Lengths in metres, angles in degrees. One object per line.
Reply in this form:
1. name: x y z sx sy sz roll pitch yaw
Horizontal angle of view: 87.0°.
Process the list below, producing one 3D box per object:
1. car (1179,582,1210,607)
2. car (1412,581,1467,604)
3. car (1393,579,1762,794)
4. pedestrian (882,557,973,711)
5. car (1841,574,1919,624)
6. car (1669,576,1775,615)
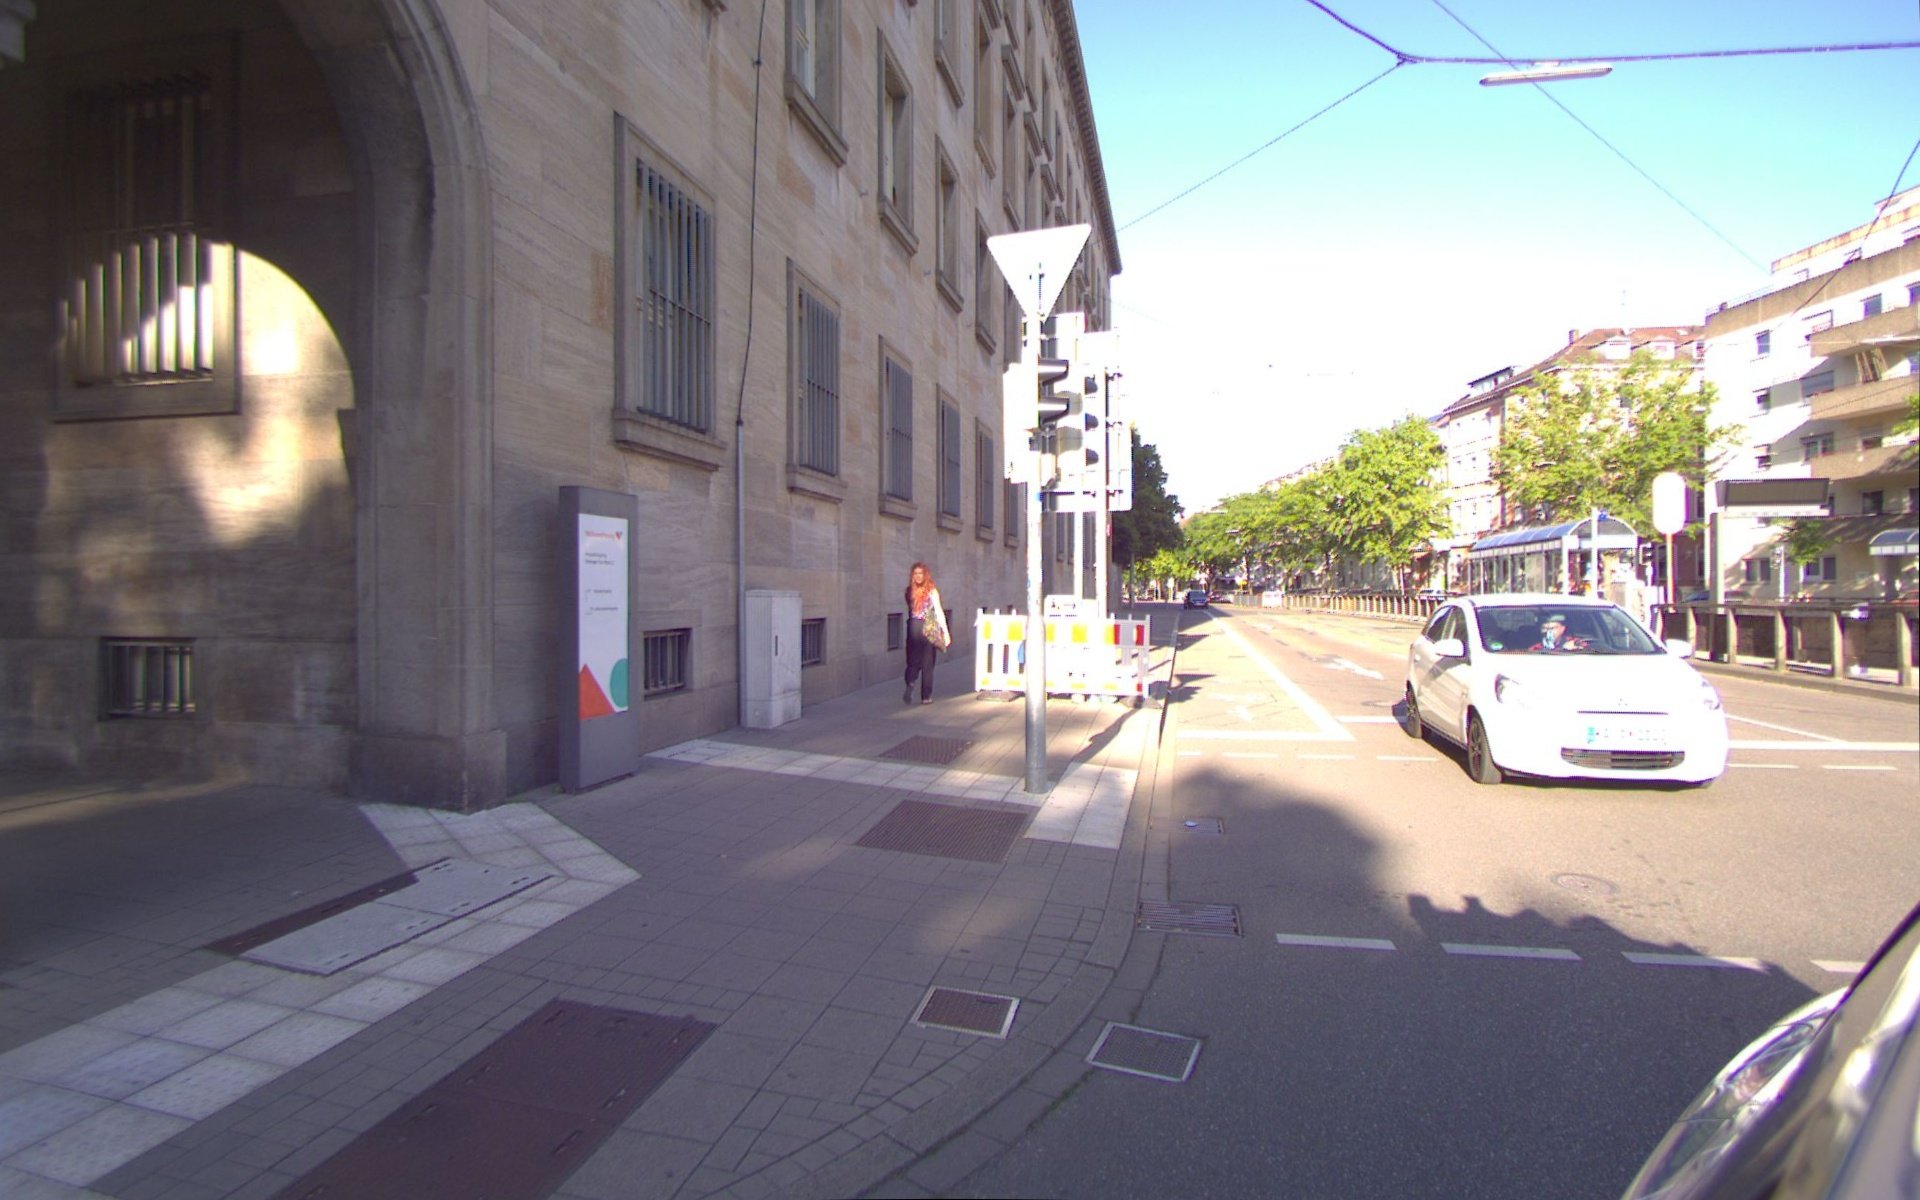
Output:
1. car: 19.810 -0.447 85.611 1.726 2.039 3.706 0 0 0
2. car: 35.590 -0.563 75.107 3.921 1.605 1.742 -2 1 -31
3. car: 5.144 0.588 9.033 1.654 1.482 3.751 -2 1 13
4. pedestrian: -0.357 0.365 11.627 0.727 1.641 0.915 4 1 13
5. car: 33.145 -0.089 34.930 3.923 1.605 1.741 -2 0 -1
6. car: 34.068 -0.201 45.383 1.707 1.605 4.000 -2 1 0
